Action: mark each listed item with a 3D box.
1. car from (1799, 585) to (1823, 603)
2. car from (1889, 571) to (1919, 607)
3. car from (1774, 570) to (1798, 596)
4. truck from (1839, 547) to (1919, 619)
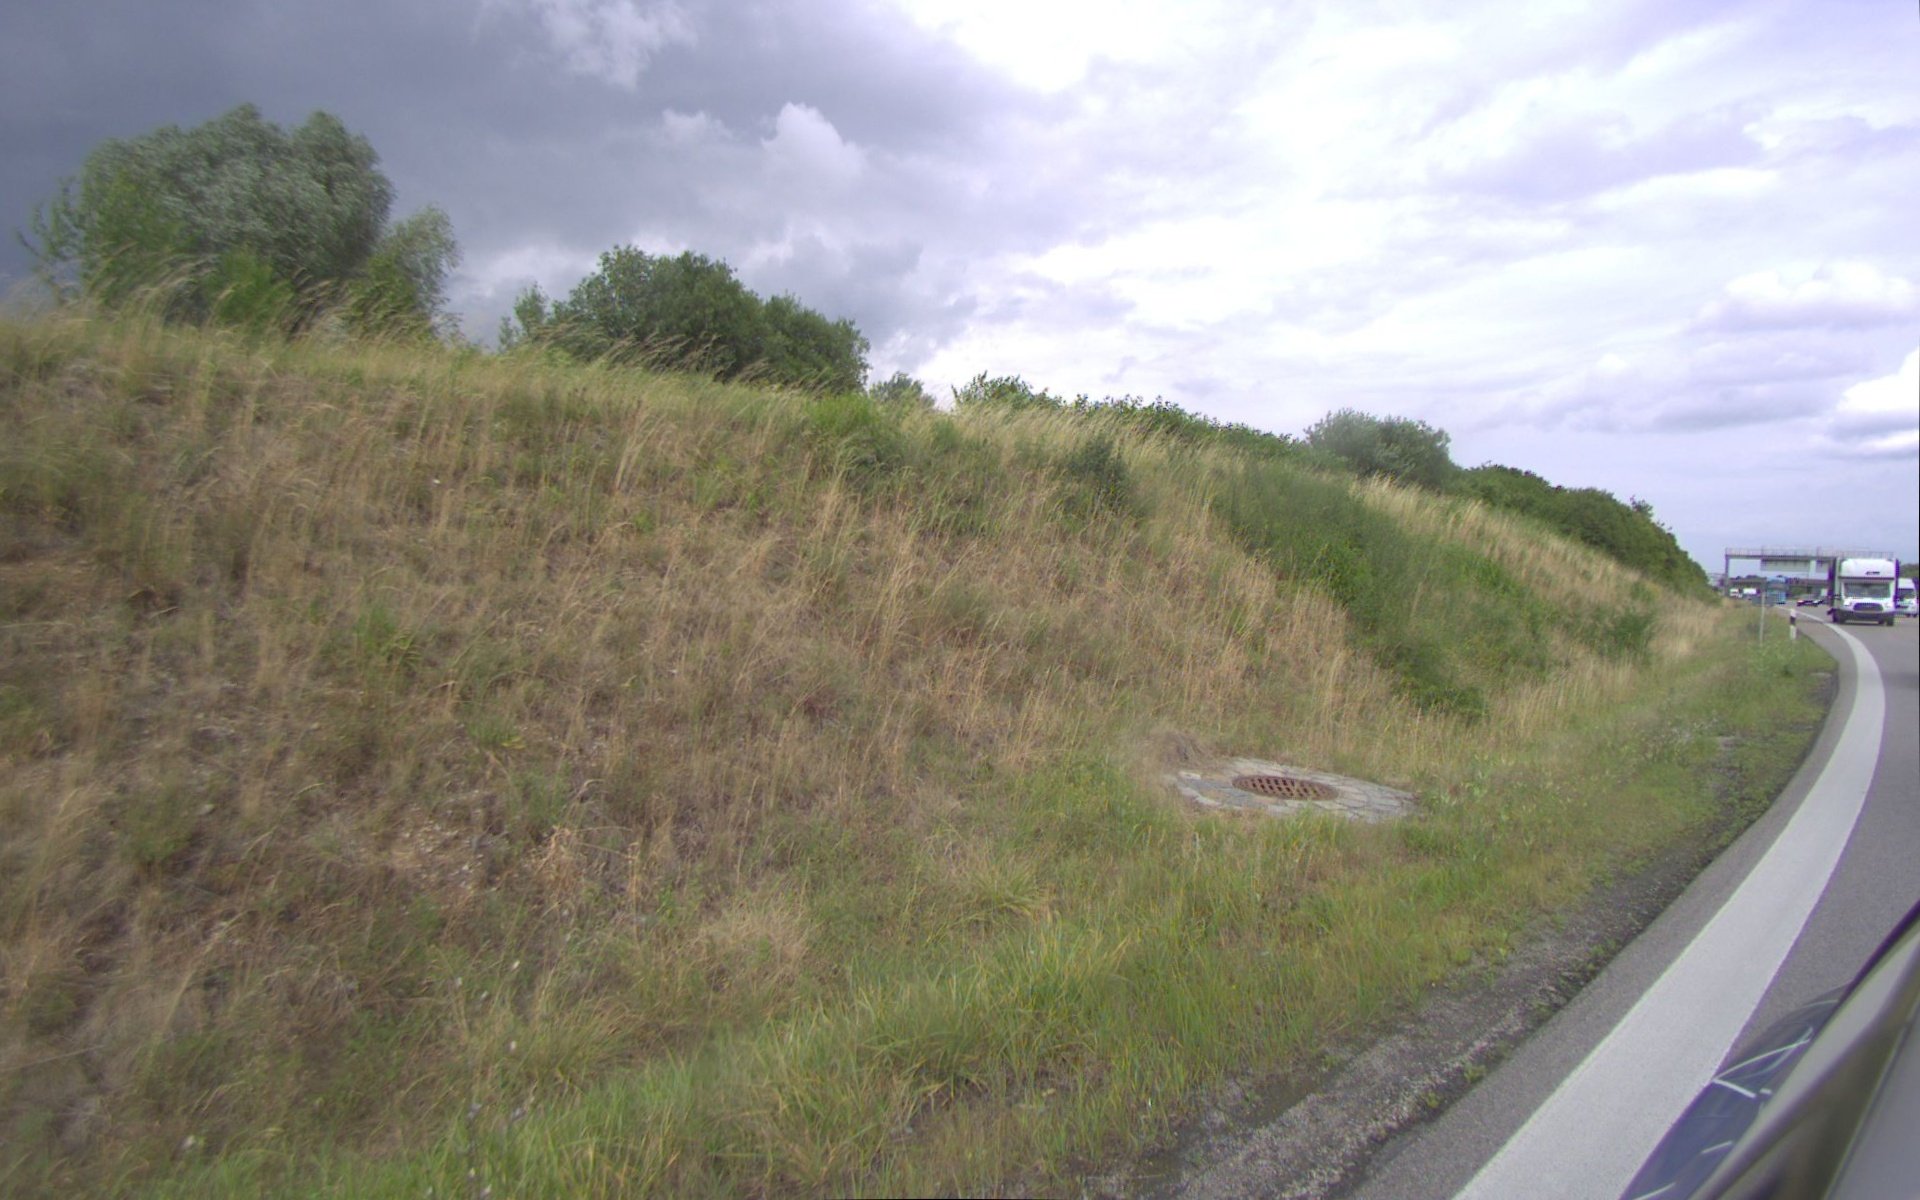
[{"bbox_3d":[100.987,-0.775,120.115,1.990,2.038,3.945,2,2,38],"label":"car"},{"bbox_3d":[65.987,-0.757,70.315,1.991,2.425,3.941,0,1,41],"label":"car"},{"bbox_3d":[125.139,-2.546,153.342,2.493,3.757,7.596,2,2,38],"label":"car"},{"bbox_3d":[44.694,-0.844,49.331,2.438,3.275,7.091,2,2,39],"label":"truck"}]
